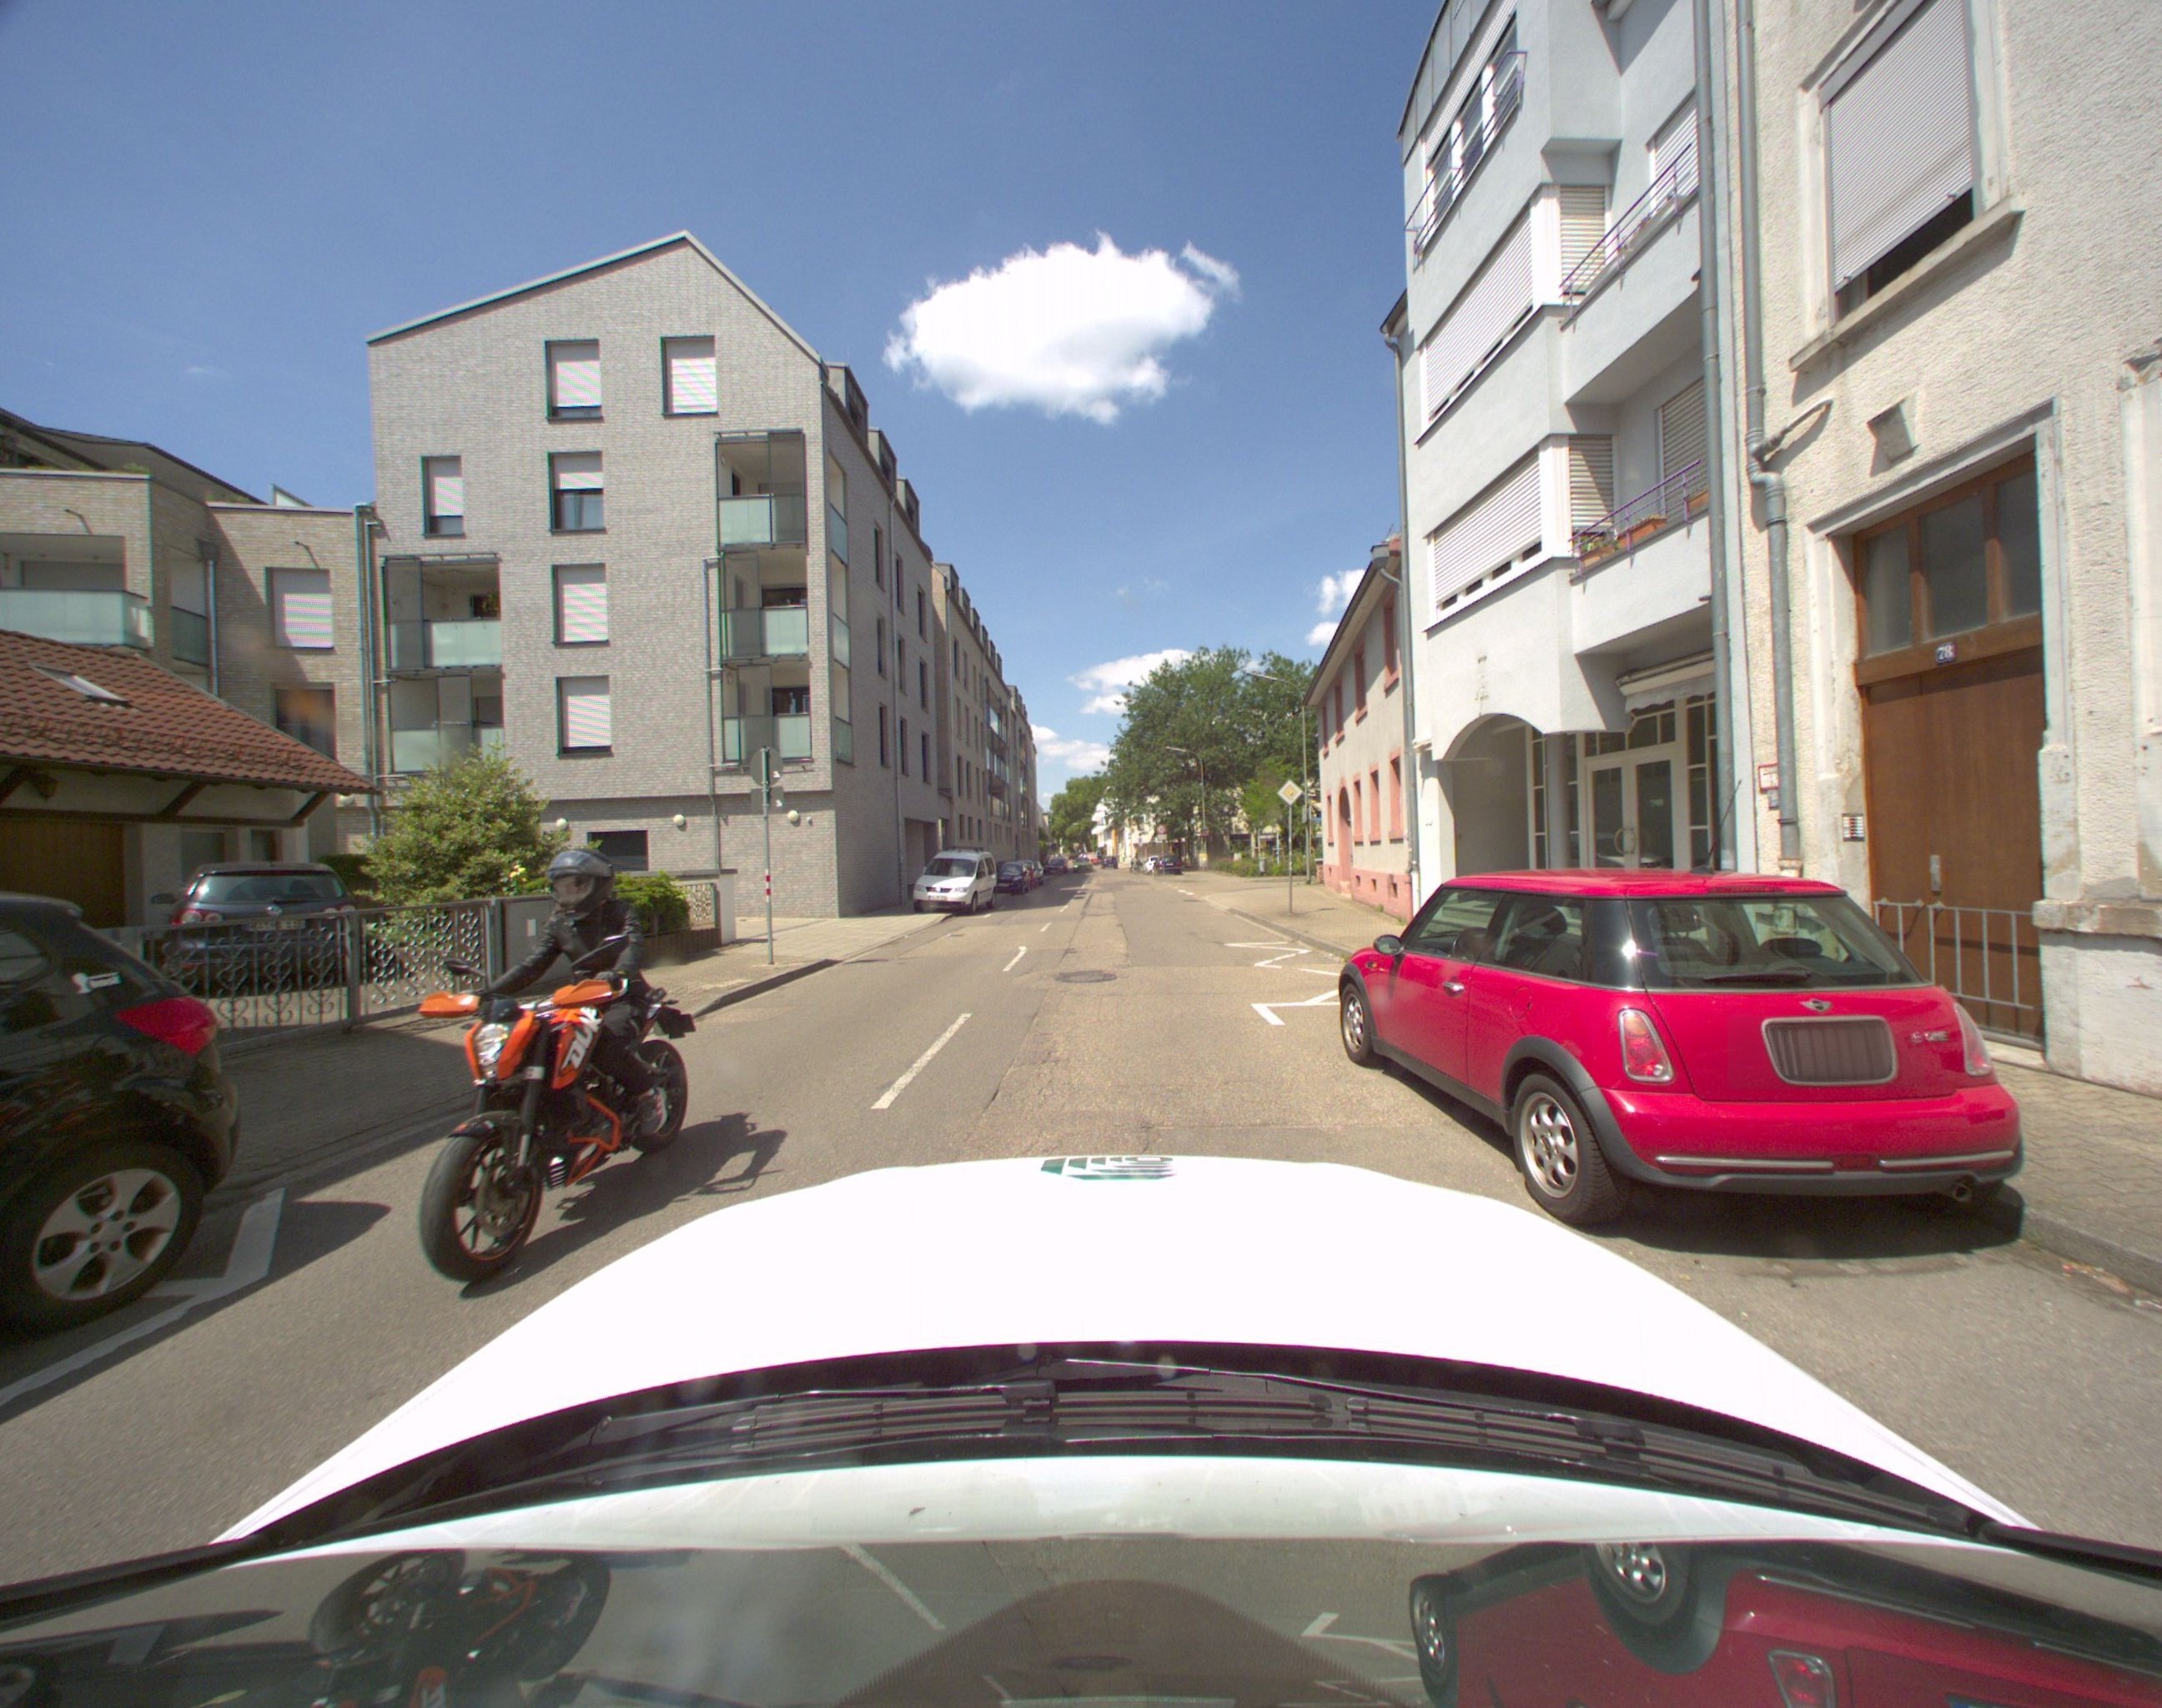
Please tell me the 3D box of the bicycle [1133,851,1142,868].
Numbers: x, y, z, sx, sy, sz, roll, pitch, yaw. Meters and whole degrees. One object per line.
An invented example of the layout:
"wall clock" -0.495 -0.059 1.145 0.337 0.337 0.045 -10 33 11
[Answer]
"bicycle" 5.016 0.494 72.305 0.480 1.490 0.571 -2 -1 -27

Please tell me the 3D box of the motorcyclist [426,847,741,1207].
"motorcyclist" -2.351 0.740 4.008 0.819 1.509 1.057 -2 0 2

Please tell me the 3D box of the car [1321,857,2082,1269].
"car" 2.717 0.737 4.643 1.613 1.385 3.538 -2 0 0

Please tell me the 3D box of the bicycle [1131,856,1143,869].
"bicycle" 5.013 0.756 72.324 0.486 1.114 1.185 -2 0 -27

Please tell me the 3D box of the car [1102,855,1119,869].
"car" 3.300 0.912 91.414 1.709 1.402 4.002 -2 0 2

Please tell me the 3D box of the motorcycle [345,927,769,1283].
"motorcycle" -2.344 1.027 4.049 0.685 1.122 2.029 -2 0 2

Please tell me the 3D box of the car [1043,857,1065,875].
"car" -2.380 1.050 72.307 1.726 1.442 4.000 -2 0 1

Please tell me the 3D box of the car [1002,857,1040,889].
"car" -3.073 0.938 42.258 1.585 1.554 3.571 -2 0 1

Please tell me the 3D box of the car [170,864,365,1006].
"car" -10.872 0.935 10.993 1.648 1.539 3.520 0 0 -44

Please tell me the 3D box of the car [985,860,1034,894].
"car" -3.209 1.012 37.238 1.716 1.456 4.008 -1 0 3

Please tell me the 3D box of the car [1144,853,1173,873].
"car" 5.862 0.669 61.780 1.773 1.420 4.000 -2 0 0

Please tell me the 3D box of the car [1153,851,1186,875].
"car" 5.931 0.609 54.855 1.687 1.420 4.000 -5 0 0

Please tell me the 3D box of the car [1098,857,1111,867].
"car" 3.956 1.271 137.705 1.987 1.618 3.999 -2 0 0

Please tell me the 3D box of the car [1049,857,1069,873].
"car" -2.072 1.019 77.463 1.726 1.442 4.000 -2 0 1

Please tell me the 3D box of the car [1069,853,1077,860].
"car" -2.382 0.727 231.067 2.150 2.013 4.000 -2 0 0

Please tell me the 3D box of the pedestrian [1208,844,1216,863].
"pedestrian" 12.844 -0.022 79.760 0.590 1.859 0.606 -2 0 16

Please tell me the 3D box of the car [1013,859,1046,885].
"car" -2.984 1.014 47.783 1.585 1.456 3.704 0 0 1

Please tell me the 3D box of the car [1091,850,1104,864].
"car" 2.455 0.499 122.700 1.832 2.013 4.002 -2 0 2

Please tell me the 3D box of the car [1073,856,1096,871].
"car" 0.384 0.914 79.274 1.985 1.381 4.396 0 0 3

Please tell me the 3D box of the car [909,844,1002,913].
"car" -3.685 0.663 24.671 1.748 1.892 4.343 0 0 5

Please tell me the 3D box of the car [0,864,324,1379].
"car" -4.427 0.882 1.755 1.787 1.646 3.947 -1 0 2
